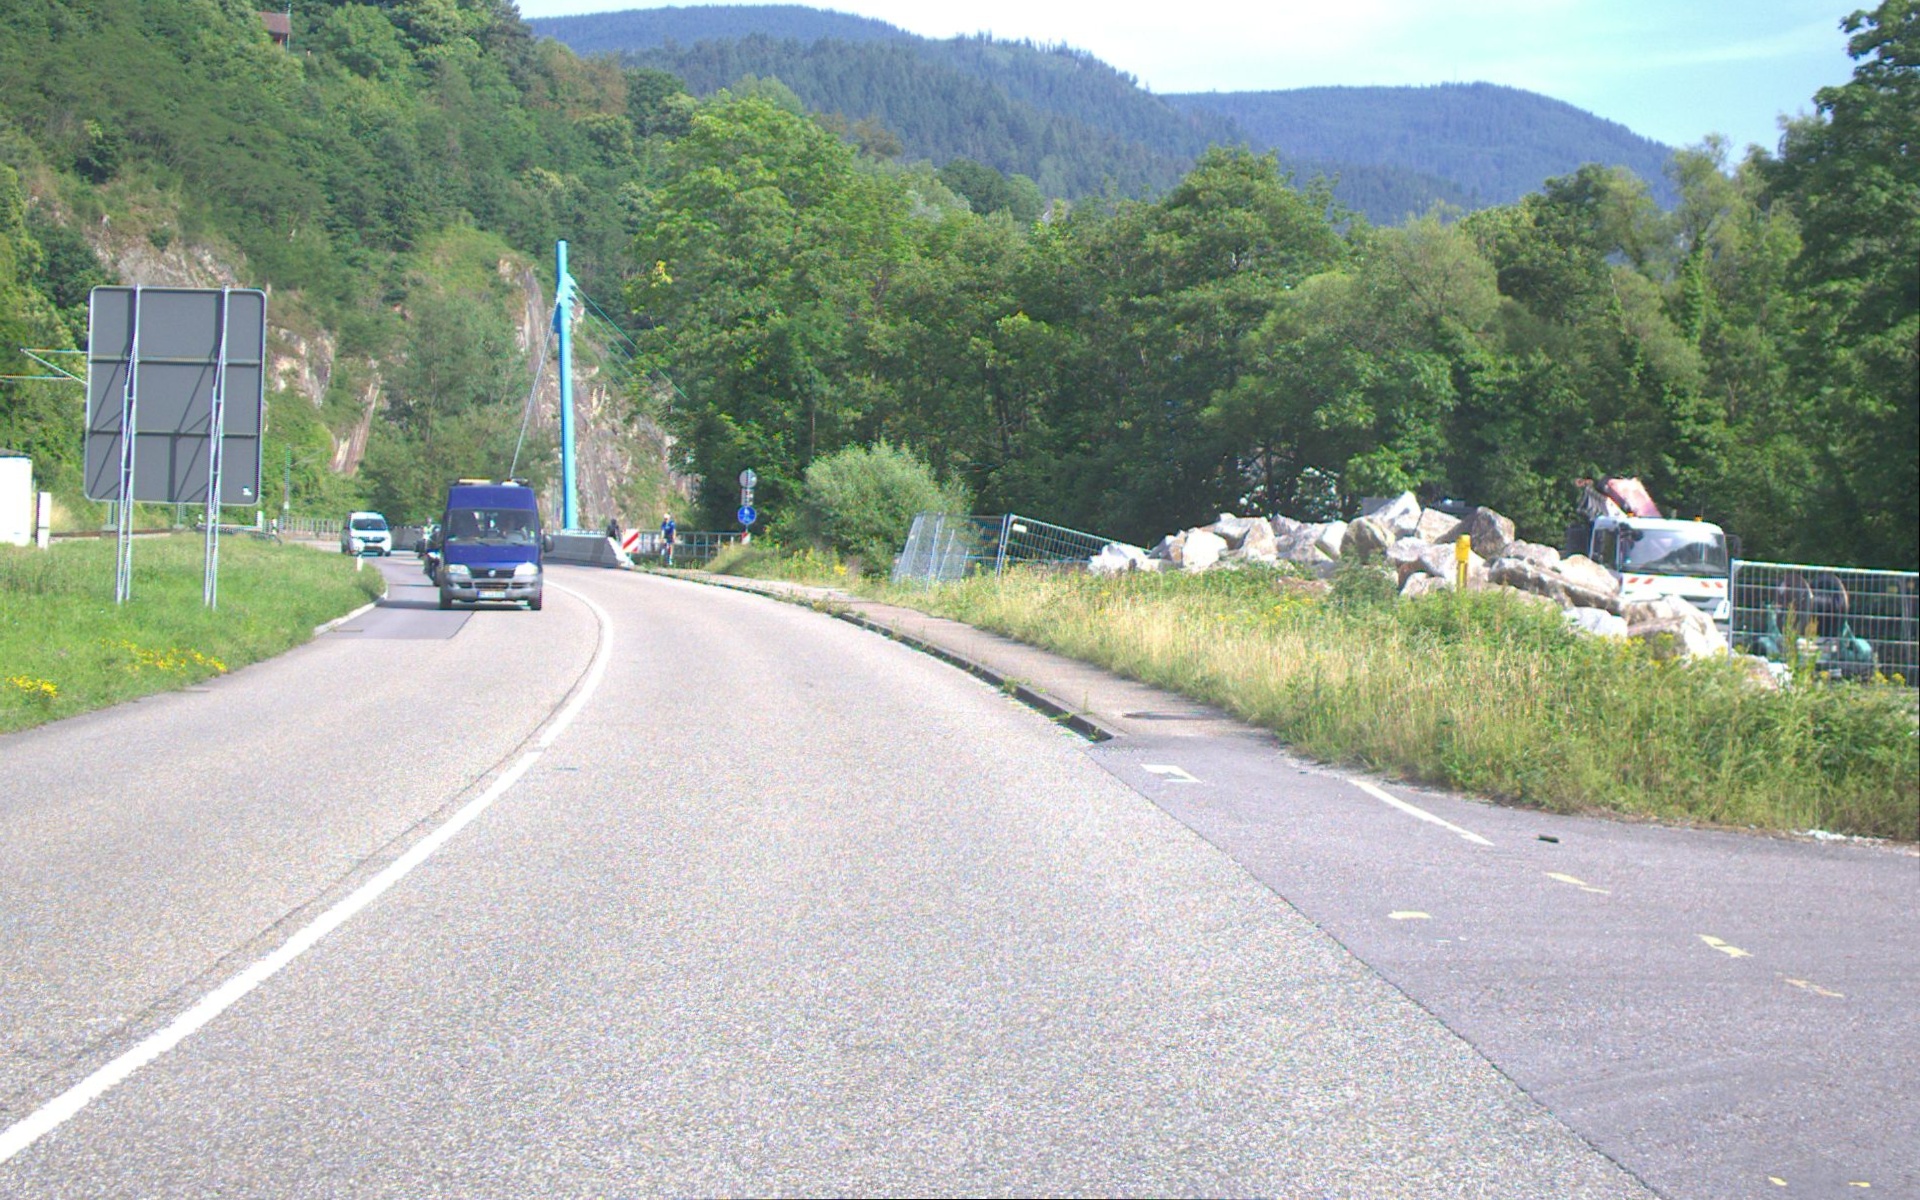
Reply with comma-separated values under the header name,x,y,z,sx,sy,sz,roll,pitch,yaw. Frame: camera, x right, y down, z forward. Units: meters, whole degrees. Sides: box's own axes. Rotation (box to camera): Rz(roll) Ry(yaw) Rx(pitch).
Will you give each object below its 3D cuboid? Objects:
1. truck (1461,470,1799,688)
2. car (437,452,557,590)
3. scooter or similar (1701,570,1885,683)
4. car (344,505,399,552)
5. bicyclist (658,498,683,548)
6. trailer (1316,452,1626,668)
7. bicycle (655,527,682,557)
name,x,y,z,sx,sy,sz,roll,pitch,yaw
truck,12.675,-0.469,66.001,3.102,3.769,8.647,3,1,-12
car,-9.098,-1.565,67.901,2.126,2.606,5.480,0,1,-5
scooter or similar,15.763,0.475,65.249,1.993,2.007,4.001,1,1,-8
car,-24.148,-2.956,141.024,1.869,1.775,4.601,2,2,-14
bicyclist,-9.868,-2.625,117.058,0.641,1.648,0.809,4,1,-11
trailer,10.961,-0.860,75.094,3.364,4.259,9.912,3,0,-11
bicycle,-9.927,-1.972,117.120,0.648,0.939,1.848,4,1,-11
